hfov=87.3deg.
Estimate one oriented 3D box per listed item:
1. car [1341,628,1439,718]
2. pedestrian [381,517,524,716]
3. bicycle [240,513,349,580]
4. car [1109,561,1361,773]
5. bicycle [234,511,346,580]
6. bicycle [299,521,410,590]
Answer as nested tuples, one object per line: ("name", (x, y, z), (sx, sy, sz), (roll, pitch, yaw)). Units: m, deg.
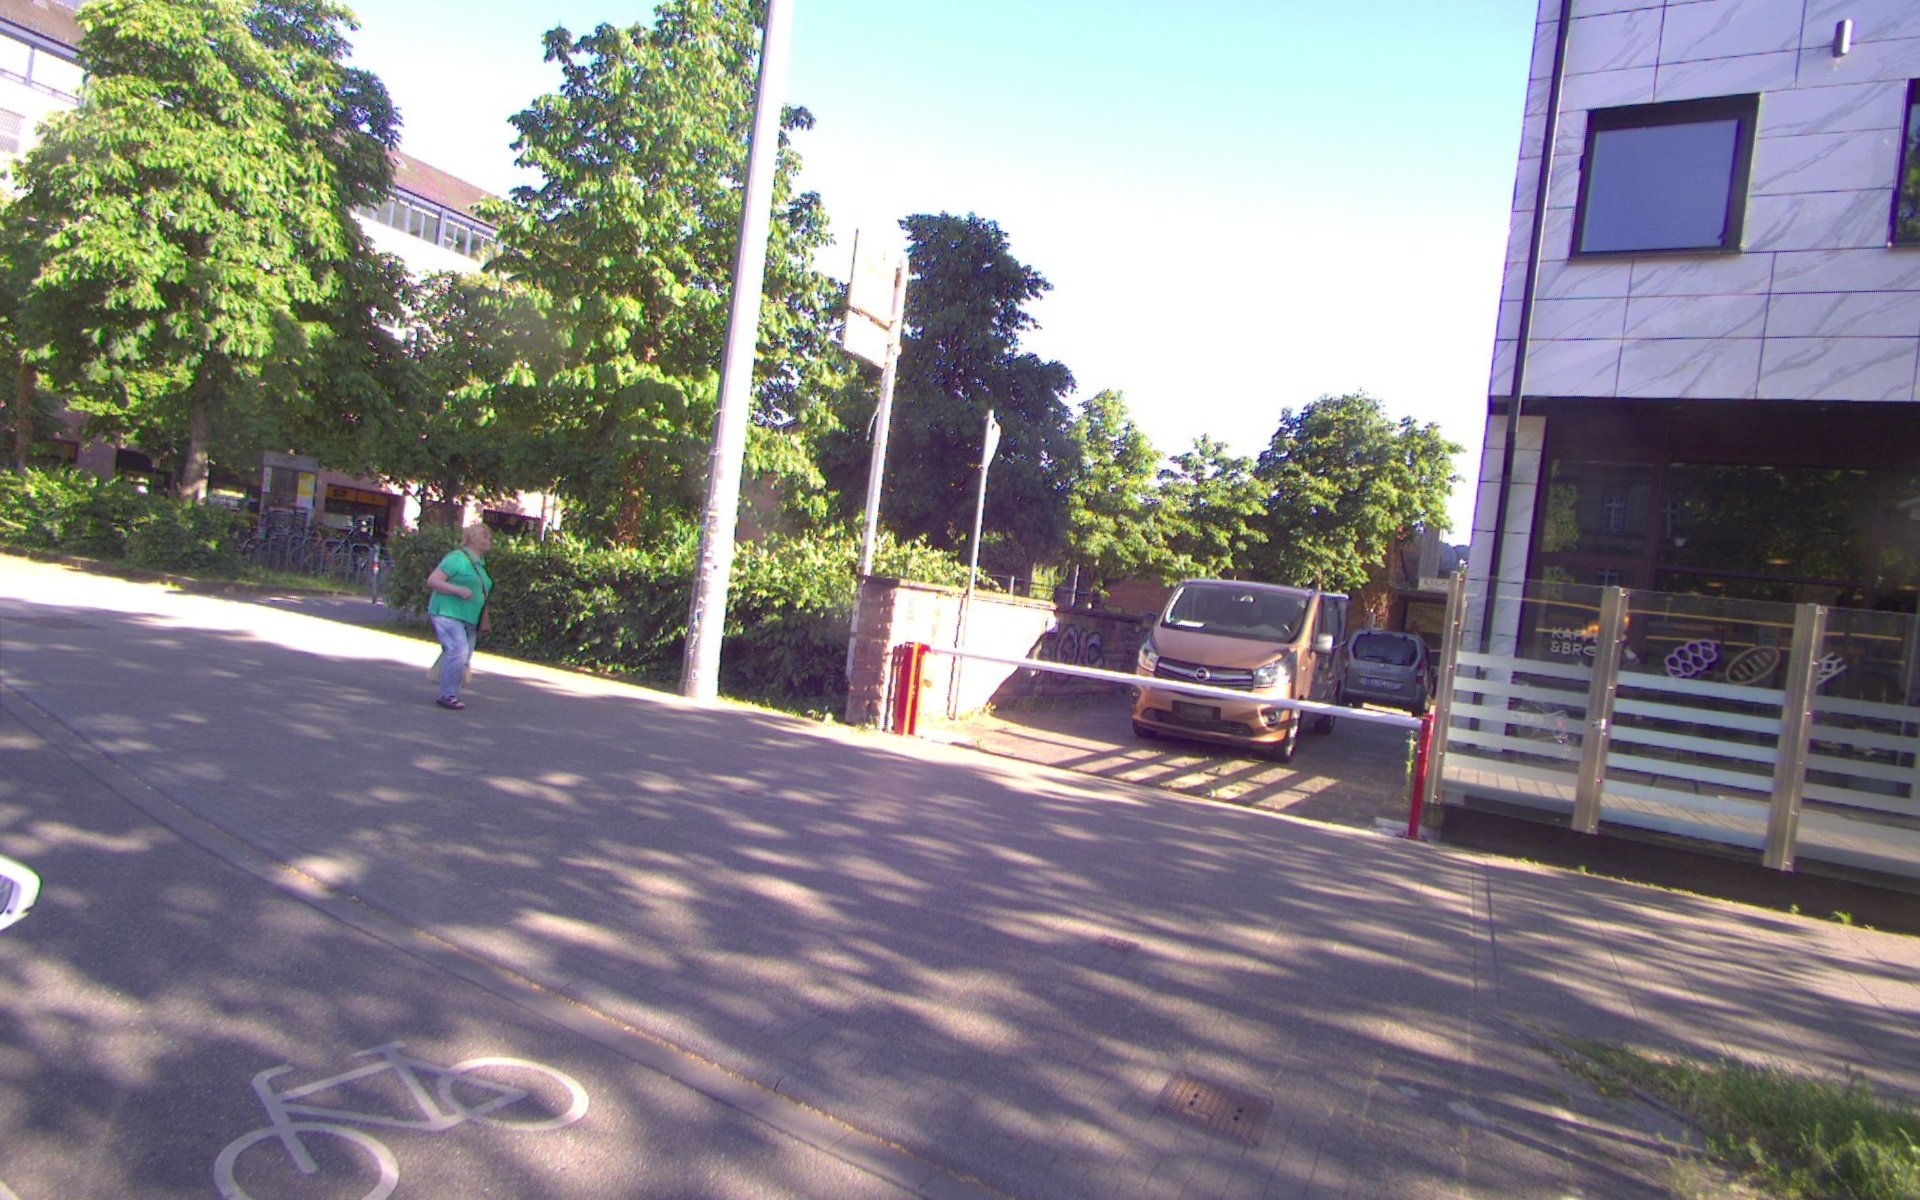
("car", (9.757, 1.615, 22.671), (1.567, 1.692, 3.616), (7, 0, 28))
("pedestrian", (-4.428, 0.143, 8.836), (0.818, 1.595, 0.737), (6, 1, -11))
("bicycle", (-15.539, -1.226, 23.549), (0.564, 1.331, 1.998), (7, 1, 31))
("car", (3.717, 0.723, 12.846), (1.880, 2.011, 4.901), (7, 2, 28))
("bicycle", (-15.212, -1.217, 22.907), (0.564, 1.331, 1.998), (7, 1, 31))
("bicycle", (-13.392, -0.959, 22.321), (0.564, 1.331, 1.998), (7, 1, 31))
